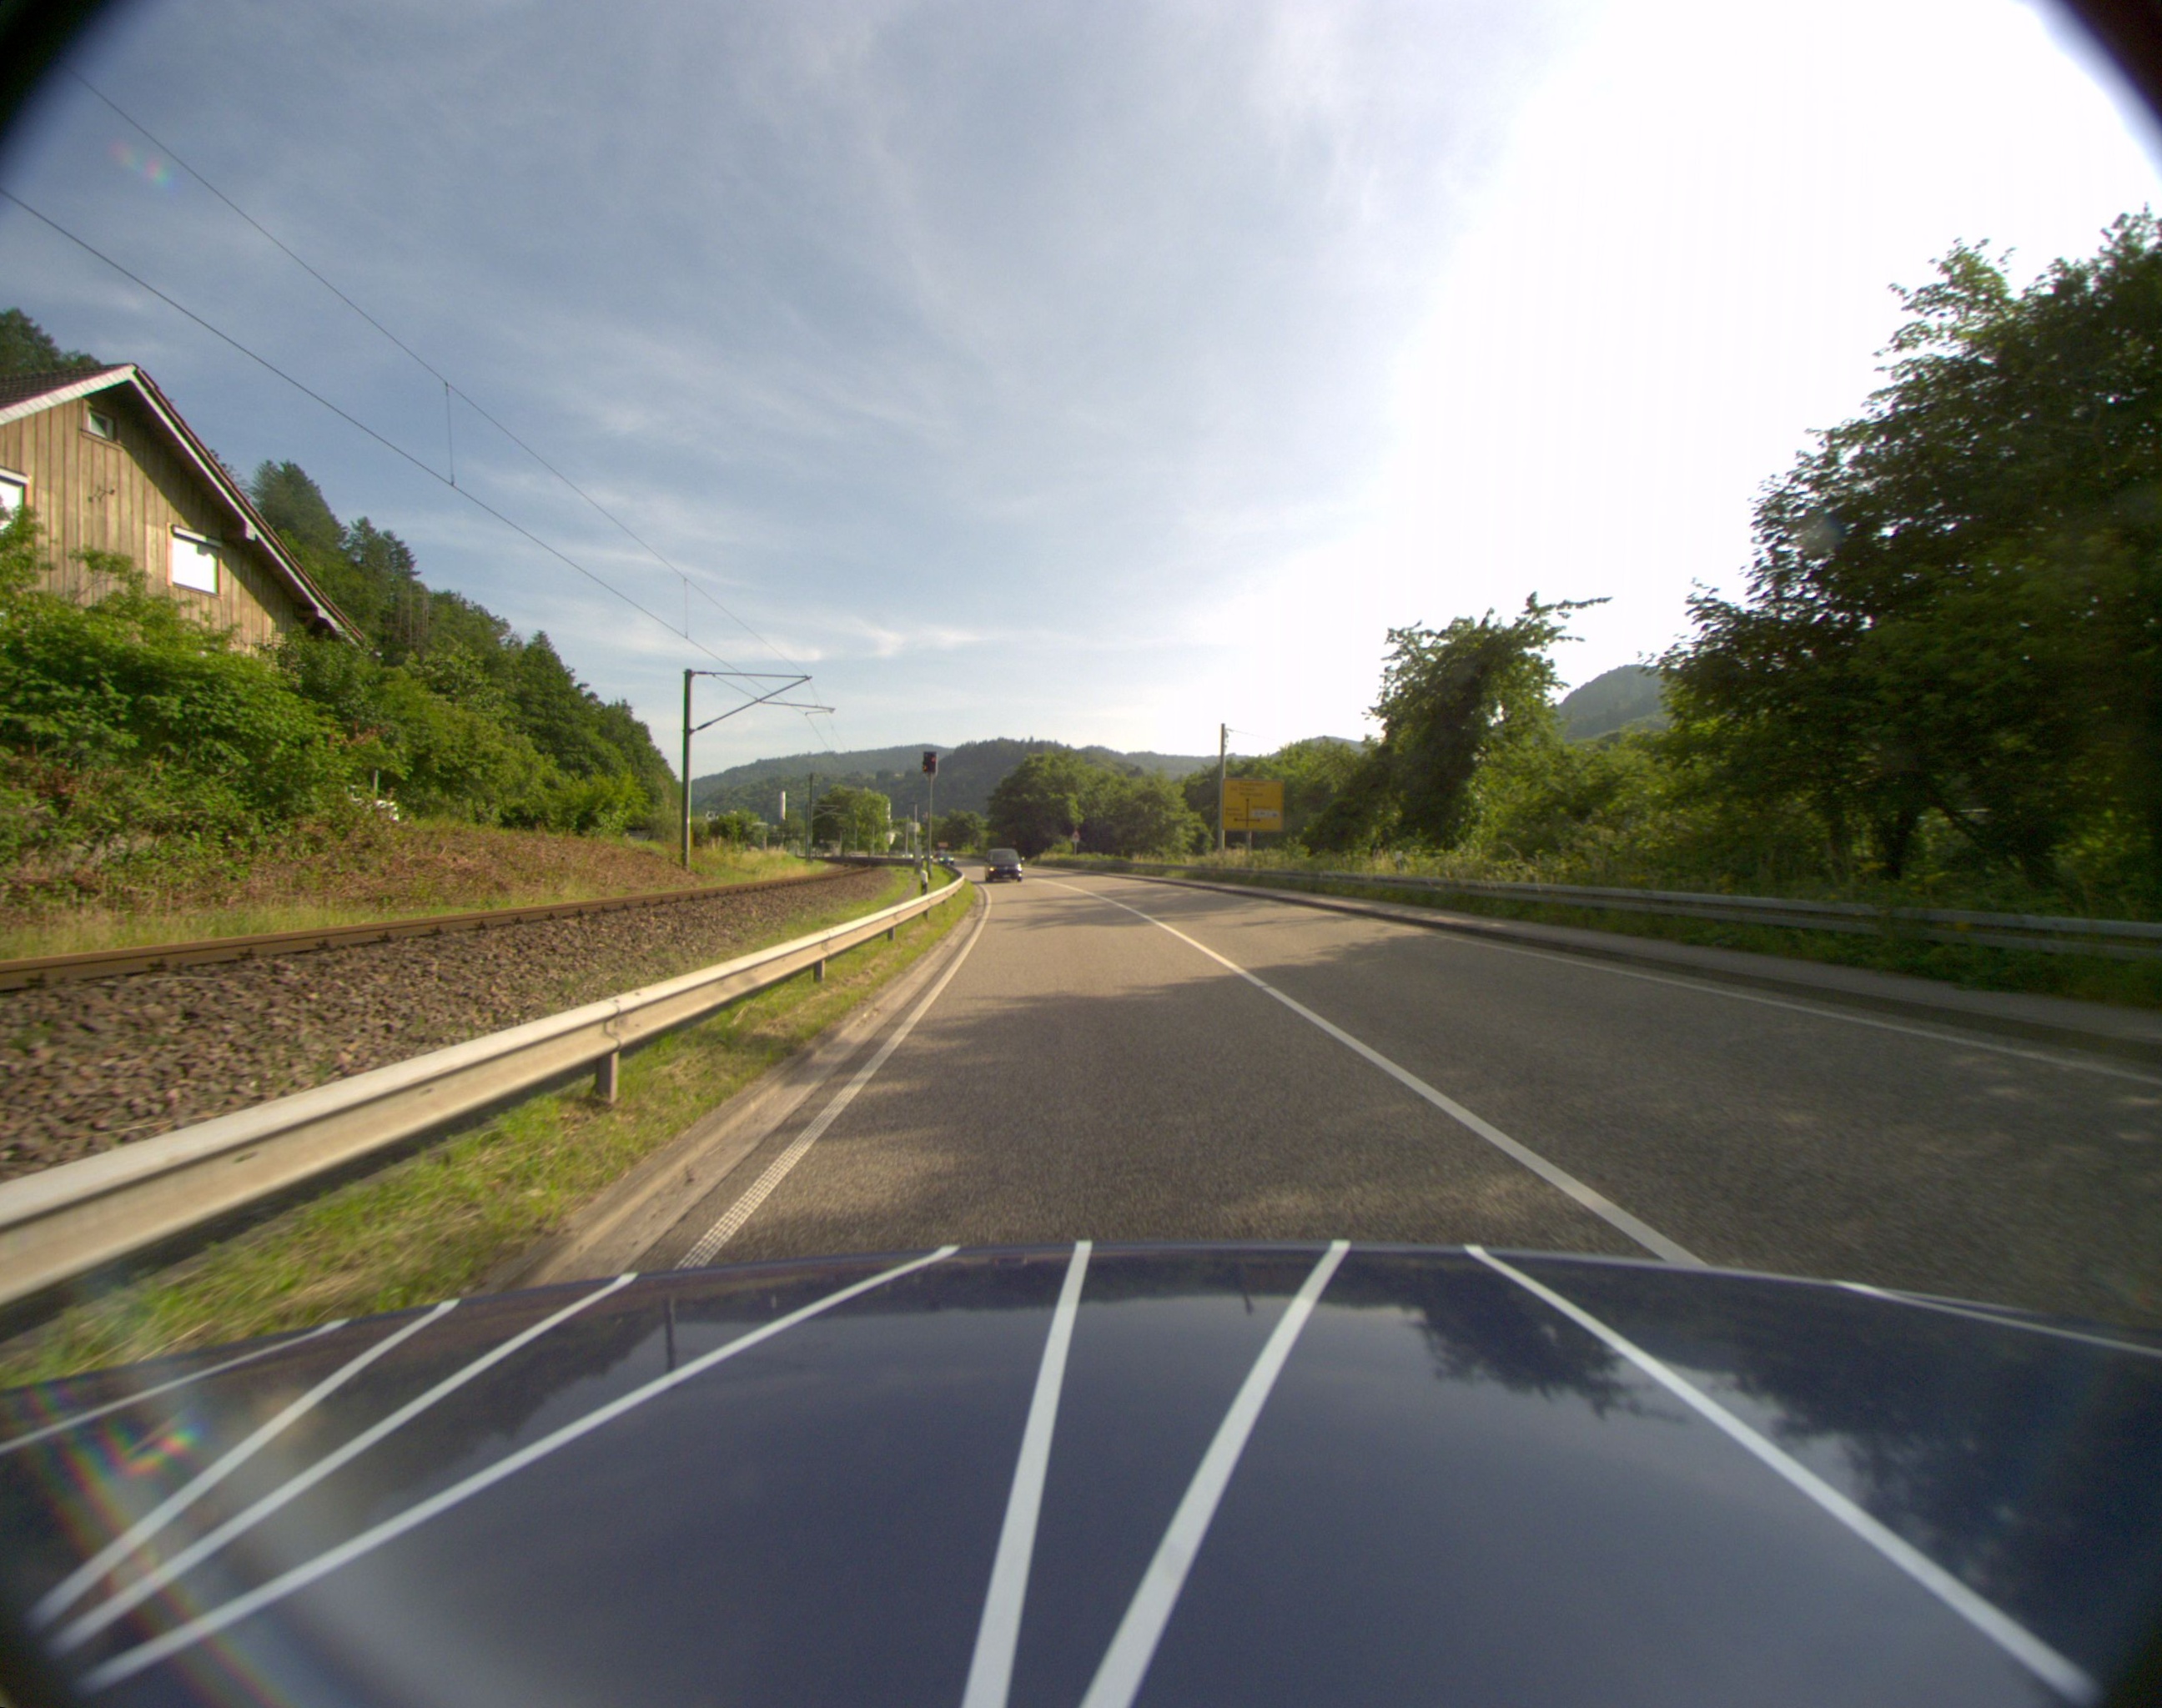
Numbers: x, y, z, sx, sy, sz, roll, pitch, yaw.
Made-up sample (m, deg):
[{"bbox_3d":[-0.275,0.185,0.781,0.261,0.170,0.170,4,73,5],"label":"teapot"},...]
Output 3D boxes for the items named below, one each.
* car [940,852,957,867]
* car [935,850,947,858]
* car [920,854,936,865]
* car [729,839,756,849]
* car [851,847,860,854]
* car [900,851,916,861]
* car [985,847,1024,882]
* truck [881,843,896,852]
[{"bbox_3d":[-16.857,0.671,96.511,1.887,1.735,4.172,-1,1,-14],"label":"car"},{"bbox_3d":[-26.312,-0.044,142.551,1.640,1.341,4.101,-2,2,-20],"label":"car"},{"bbox_3d":[-24.726,0.873,122.858,1.888,1.735,4.172,-2,0,-19],"label":"car"},{"bbox_3d":[-68.330,-2.019,153.357,4.981,2.002,1.995,-2,2,-25],"label":"car"},{"bbox_3d":[-61.232,-0.951,206.210,1.889,1.735,4.170,-1,0,-25],"label":"car"},{"bbox_3d":[-32.198,0.399,141.328,1.889,1.735,4.170,-2,0,-26],"label":"car"},{"bbox_3d":[-4.563,0.579,44.918,2.020,1.905,4.307,-1,1,-9],"label":"car"},{"bbox_3d":[-47.697,-1.581,188.101,1.890,2.272,4.707,-1,0,-39],"label":"truck"}]
